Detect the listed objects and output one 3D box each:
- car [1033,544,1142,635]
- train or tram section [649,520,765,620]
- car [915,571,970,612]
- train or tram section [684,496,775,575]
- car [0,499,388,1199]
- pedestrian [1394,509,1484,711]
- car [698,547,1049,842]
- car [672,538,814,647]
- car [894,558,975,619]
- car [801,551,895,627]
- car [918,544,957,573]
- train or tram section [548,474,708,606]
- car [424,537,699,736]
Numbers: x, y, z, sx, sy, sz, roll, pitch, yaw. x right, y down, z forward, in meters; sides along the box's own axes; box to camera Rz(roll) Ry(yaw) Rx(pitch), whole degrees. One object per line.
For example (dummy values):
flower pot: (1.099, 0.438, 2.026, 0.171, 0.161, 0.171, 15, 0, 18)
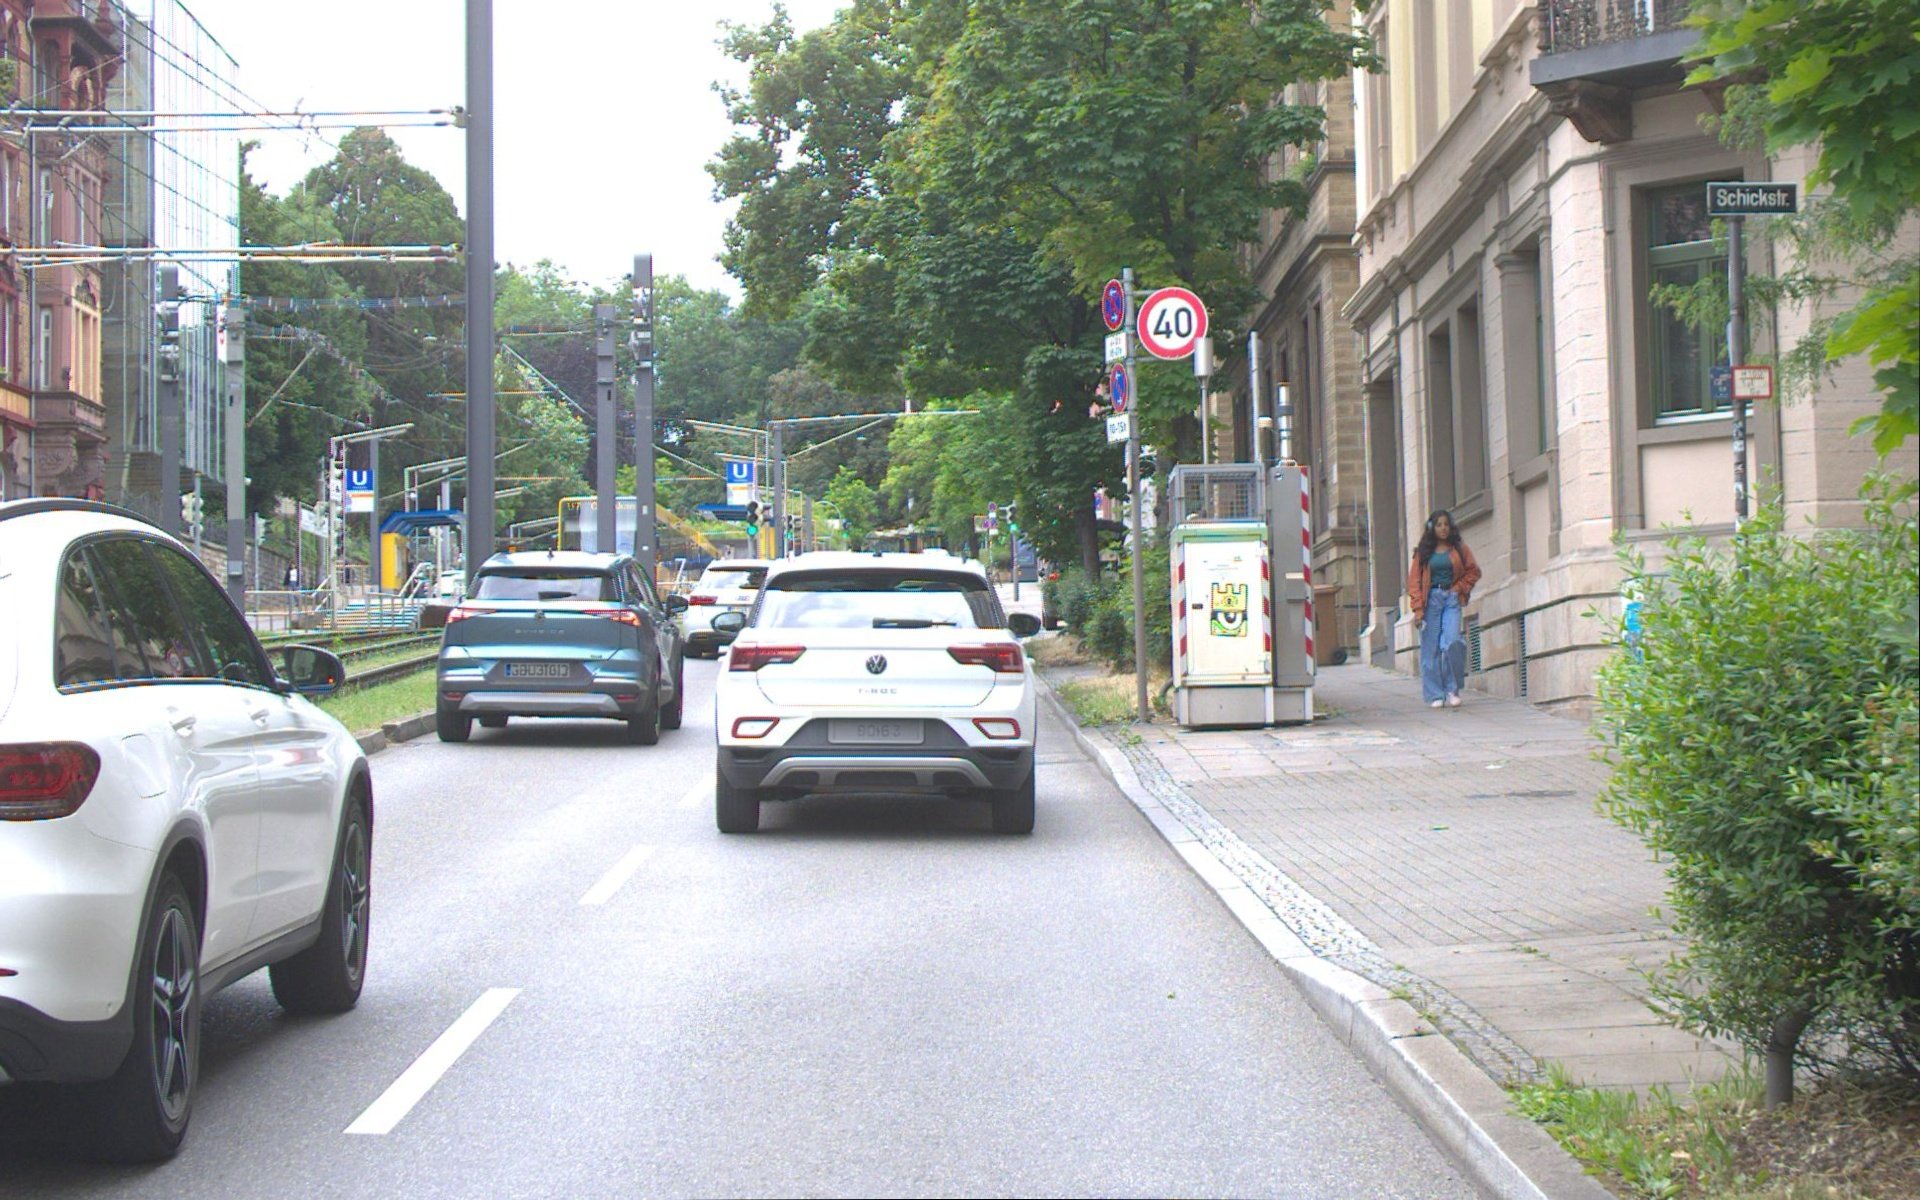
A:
car: (2.391, -0.206, 65.246, 1.835, 1.596, 4.193, -2, 0, 0)
train or tram section: (-8.866, -1.060, 122.087, 2.996, 3.337, 13.439, -1, 0, 0)
car: (-0.667, -0.353, 133.363, 2.068, 1.541, 4.193, 1, 0, 0)
train or tram section: (-10.116, -2.783, 152.464, 2.996, 3.337, 13.439, -1, 0, 0)
car: (-2.865, 0.583, 9.703, 1.835, 1.661, 4.671, 1, 0, -2)
pedestrian: (4.032, 0.073, 28.892, 0.710, 1.657, 1.126, -1, 1, 9)
car: (-0.511, 0.482, 20.290, 1.835, 1.541, 4.194, 1, 0, -1)
car: (-3.191, -0.124, 51.243, 1.835, 1.541, 4.193, 1, 0, 0)
car: (-0.670, -0.319, 91.748, 2.068, 1.541, 4.193, 1, 0, 0)
car: (-2.334, -0.249, 72.602, 1.835, 1.541, 4.193, 1, 0, 0)
car: (-1.226, -2.226, 186.302, 2.068, 1.541, 4.193, 1, 0, 0)
train or tram section: (-9.019, -1.598, 95.028, 2.996, 3.337, 13.439, -1, 0, 0)
car: (-3.298, 0.268, 29.162, 1.835, 1.541, 4.193, 1, 0, 0)
